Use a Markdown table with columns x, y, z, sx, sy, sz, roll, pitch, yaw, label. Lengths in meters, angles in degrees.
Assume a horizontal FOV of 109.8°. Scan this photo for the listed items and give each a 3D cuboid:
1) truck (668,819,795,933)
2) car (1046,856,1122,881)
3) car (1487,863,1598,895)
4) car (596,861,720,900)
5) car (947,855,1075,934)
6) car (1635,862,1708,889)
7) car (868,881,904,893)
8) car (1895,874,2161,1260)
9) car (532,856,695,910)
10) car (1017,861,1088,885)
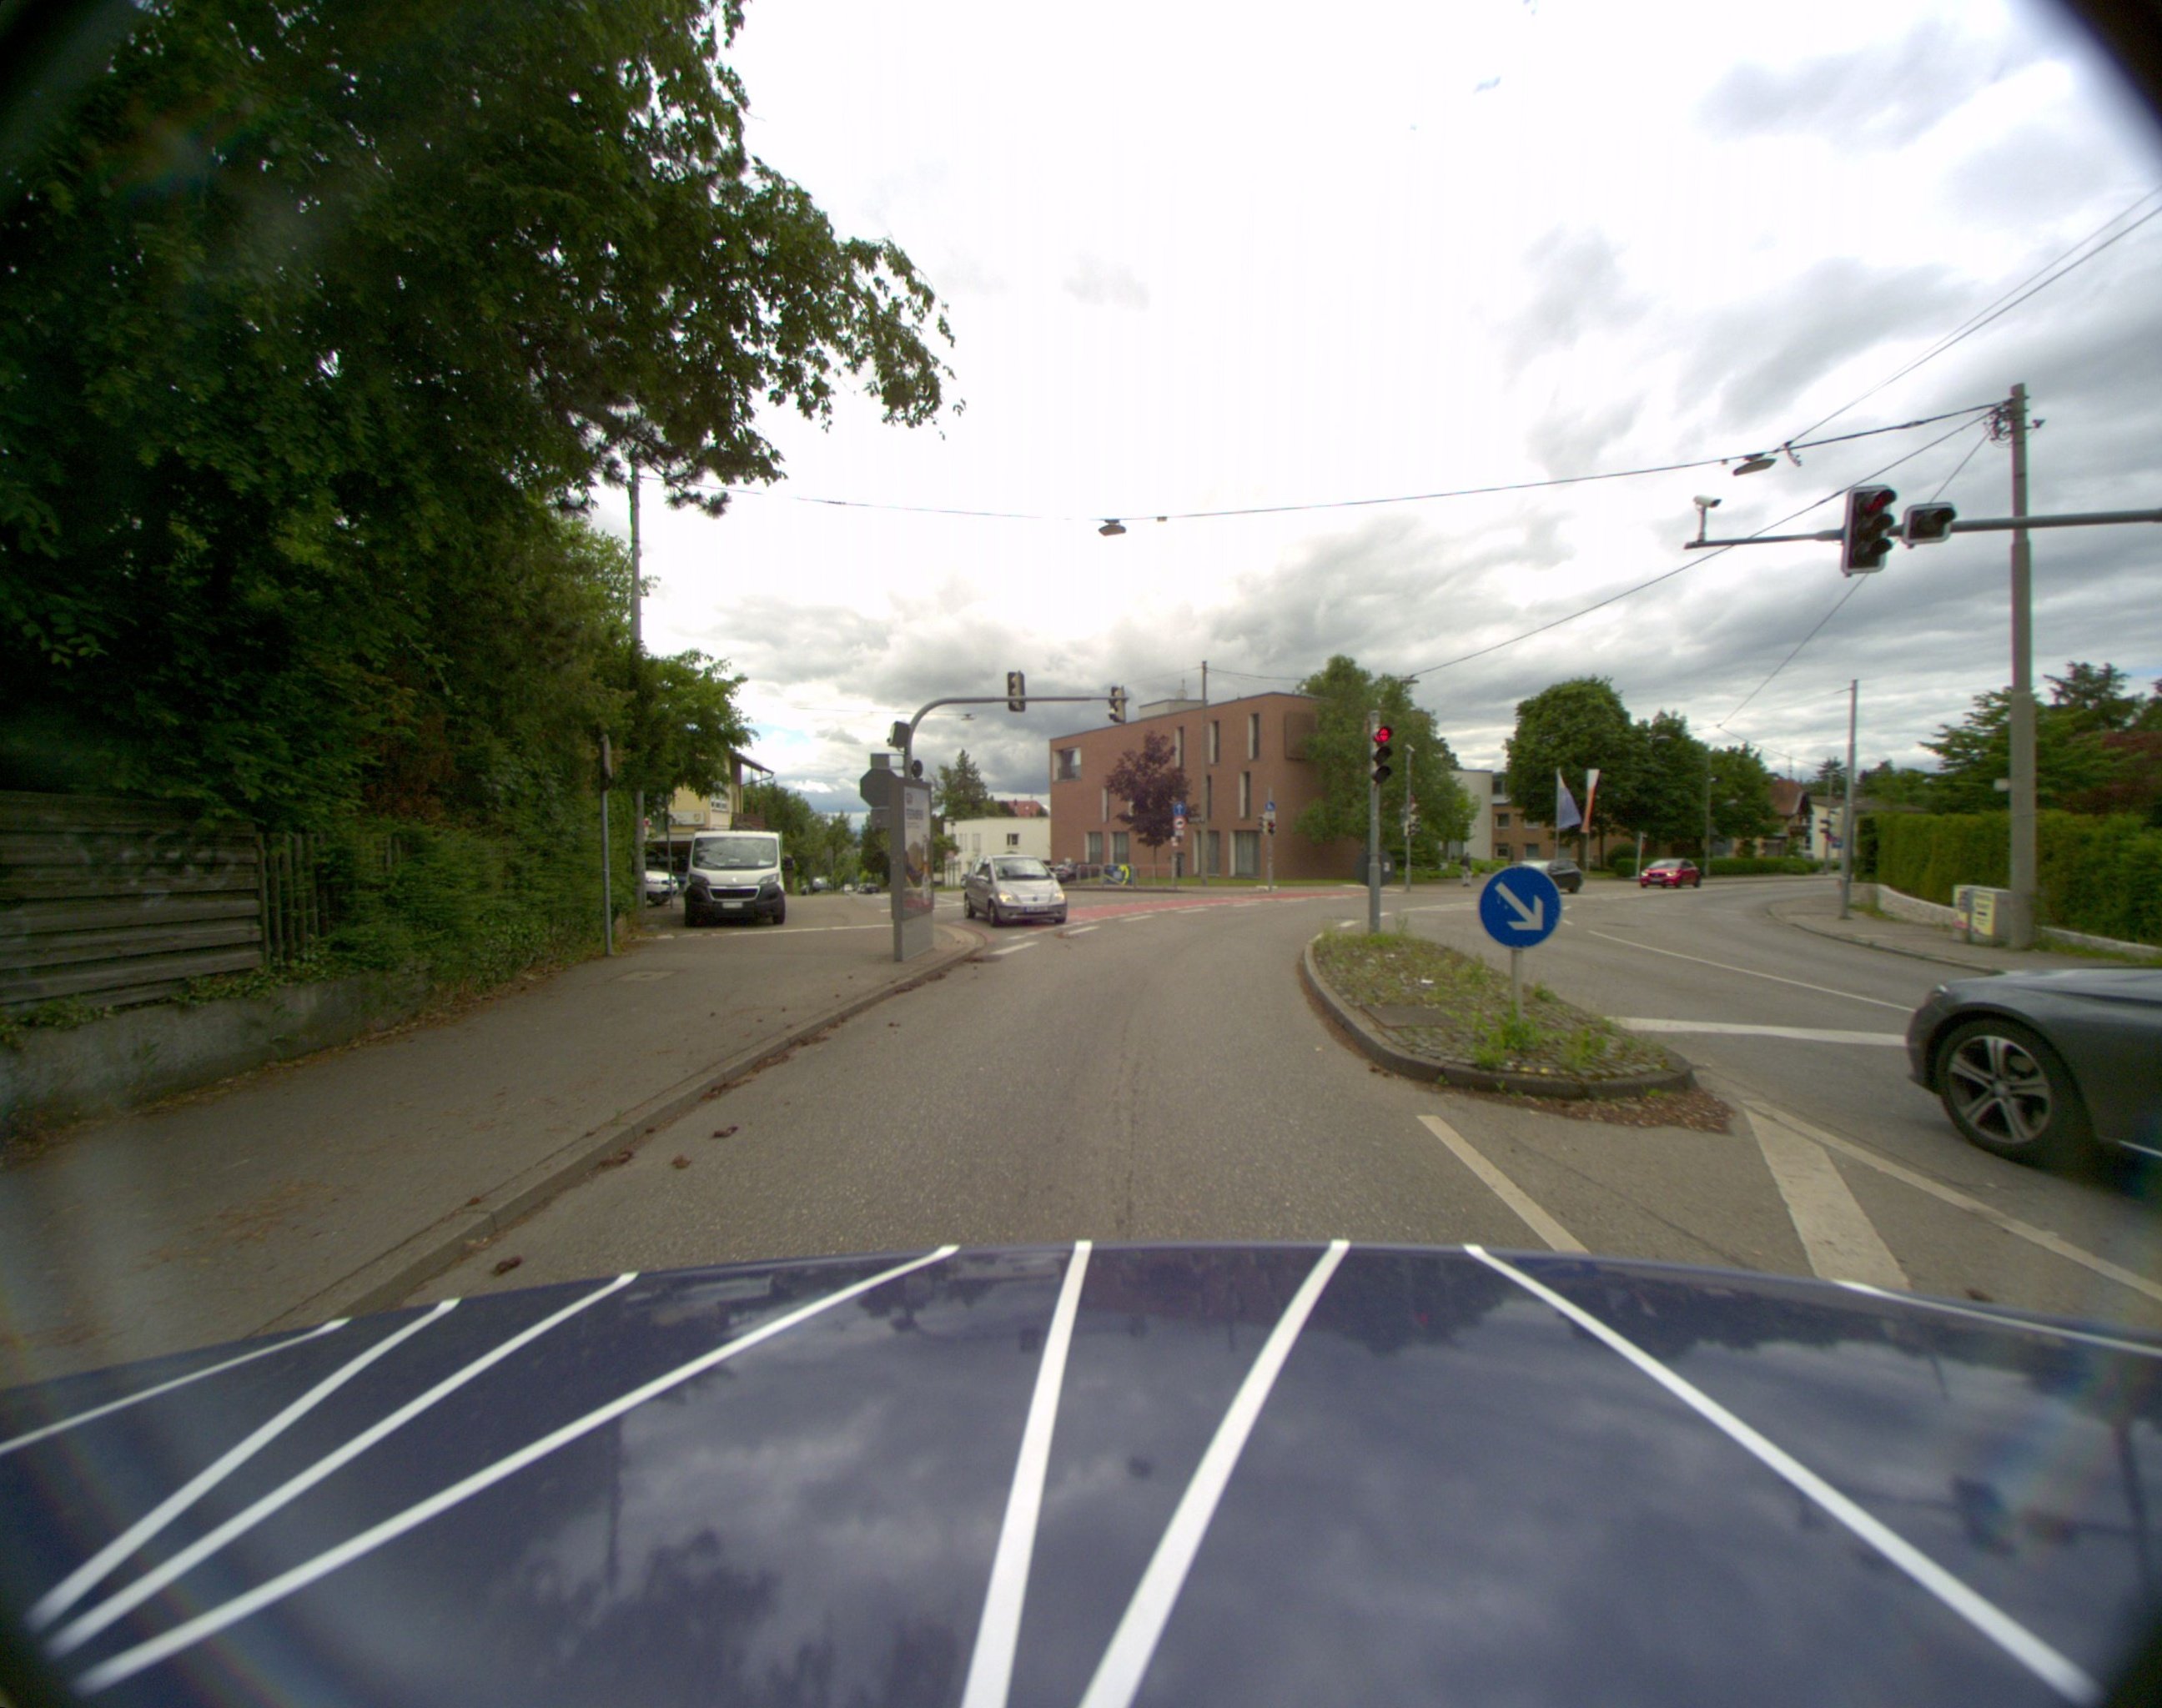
| x | y | z | sx | sy | sz | roll | pitch | yaw | label |
| --- | --- | --- | --- | --- | --- | --- | --- | --- | --- |
| -8.550 | 0.448 | 18.817 | 2.407 | 2.338 | 6.176 | 0 | 0 | -24 | truck |
| 0.204 | 0.904 | 48.594 | 4.442 | 1.548 | 1.996 | 0 | -1 | -26 | car |
| 19.379 | 1.027 | 31.945 | 4.005 | 1.236 | 1.996 | 0 | -1 | -23 | car |
| -18.009 | 1.122 | 32.526 | 4.229 | 1.519 | 1.931 | -1 | -2 | -9 | car |
| -1.780 | 0.864 | 18.020 | 2.002 | 1.586 | 3.993 | -2 | 0 | -20 | car |
| 30.777 | 1.075 | 39.575 | 4.007 | 1.193 | 1.994 | -2 | 1 | -36 | car |
| -26.893 | 4.513 | 104.817 | 4.442 | 1.548 | 1.996 | 0 | -1 | -26 | car |
| 4.872 | 0.839 | 1.630 | 1.828 | 1.476 | 4.752 | 0 | 0 | 11 | car |
| -14.800 | 0.875 | 24.179 | 4.063 | 1.630 | 1.869 | 0 | 0 | 4 | car |
| -1.957 | 1.295 | 52.467 | 4.442 | 1.548 | 1.996 | 0 | -1 | -26 | car |
